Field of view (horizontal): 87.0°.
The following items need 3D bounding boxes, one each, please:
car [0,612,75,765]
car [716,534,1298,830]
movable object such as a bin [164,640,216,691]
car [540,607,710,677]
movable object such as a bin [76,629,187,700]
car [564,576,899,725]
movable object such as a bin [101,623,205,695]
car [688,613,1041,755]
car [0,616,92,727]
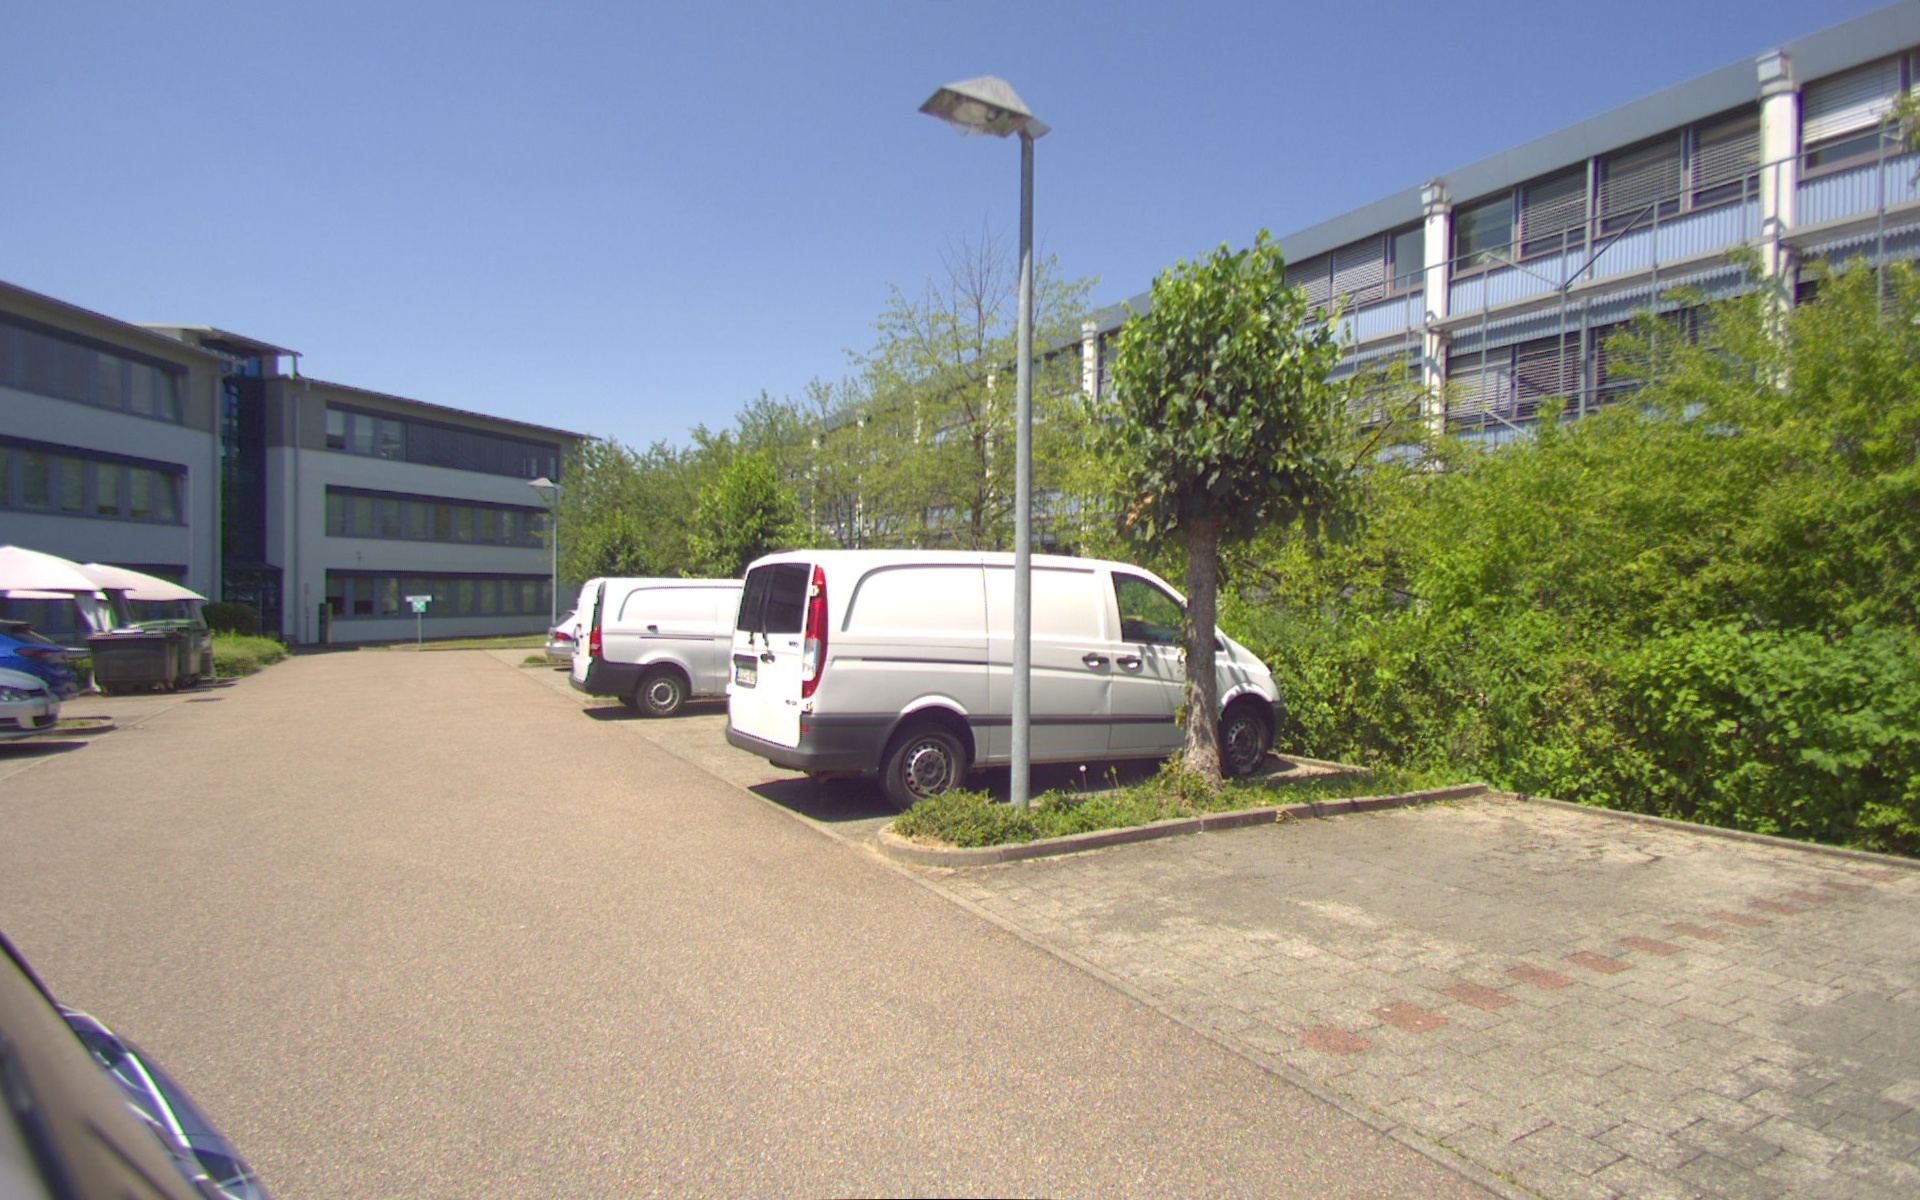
[{"bbox_3d":[-11.753,0.853,9.837,4.443,1.508,1.835,1,-1,-31],"label":"car"},{"bbox_3d":[0.507,0.540,8.531,4.654,1.920,1.835,0,-1,-31],"label":"car"},{"bbox_3d":[-15.505,1.307,20.390,0.679,0.956,0.724,0,-1,-24],"label":"movable object such as a bin"},{"bbox_3d":[-8.186,0.976,24.805,3.701,1.569,1.666,0,-1,-31],"label":"car"},{"bbox_3d":[-15.018,1.144,18.388,1.341,1.198,1.000,0,-1,-24],"label":"movable object such as a bin"},{"bbox_3d":[-3.287,0.650,14.794,4.443,1.896,1.835,0,-1,-31],"label":"car"},{"bbox_3d":[-15.421,1.101,19.390,1.341,1.306,1.046,0,-1,-24],"label":"movable object such as a bin"},{"bbox_3d":[-1.061,0.859,11.791,3.786,1.404,1.581,0,-1,-31],"label":"car"},{"bbox_3d":[-13.758,0.886,12.930,3.761,1.402,1.657,2,-2,-30],"label":"car"}]
